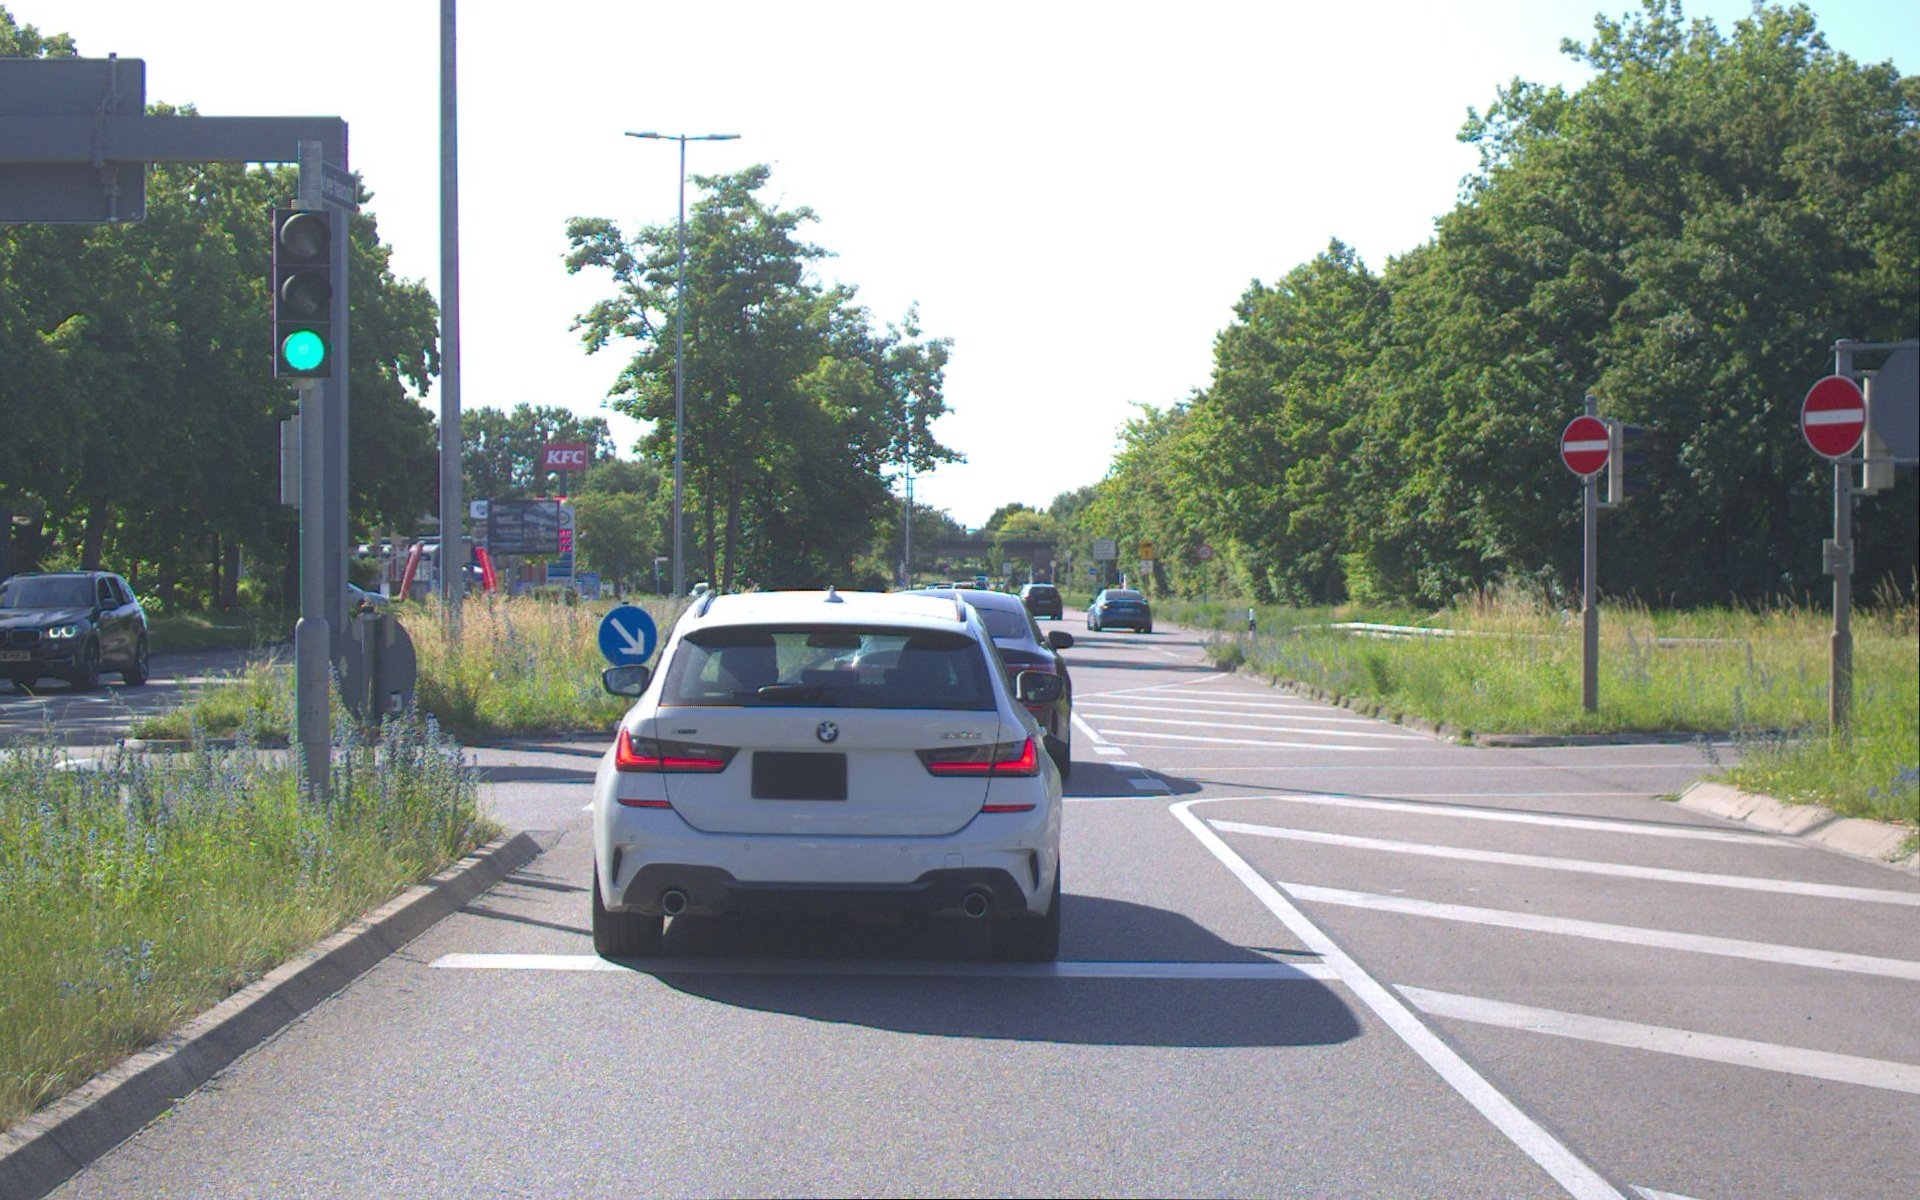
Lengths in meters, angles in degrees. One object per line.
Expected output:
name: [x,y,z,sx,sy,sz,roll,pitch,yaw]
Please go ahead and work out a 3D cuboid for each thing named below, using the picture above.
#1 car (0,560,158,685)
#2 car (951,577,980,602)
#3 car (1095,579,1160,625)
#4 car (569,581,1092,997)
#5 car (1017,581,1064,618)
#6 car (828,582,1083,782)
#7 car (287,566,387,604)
car: [-13.250,0.297,50.313,1.942,1.691,4.630,-1,1,-1]
car: [0.357,-0.699,224.091,1.861,1.560,4.548,0,0,-1]
car: [5.519,0.049,113.767,1.861,1.494,4.337,1,0,-1]
car: [-0.468,0.668,14.679,1.861,1.450,4.547,1,0,0]
car: [3.408,-0.026,146.298,1.771,1.550,3.833,0,1,-2]
car: [-0.058,0.585,27.408,1.861,1.450,4.547,0,0,-1]
car: [-28.161,-0.679,155.385,4.110,1.656,1.892,0,1,2]
